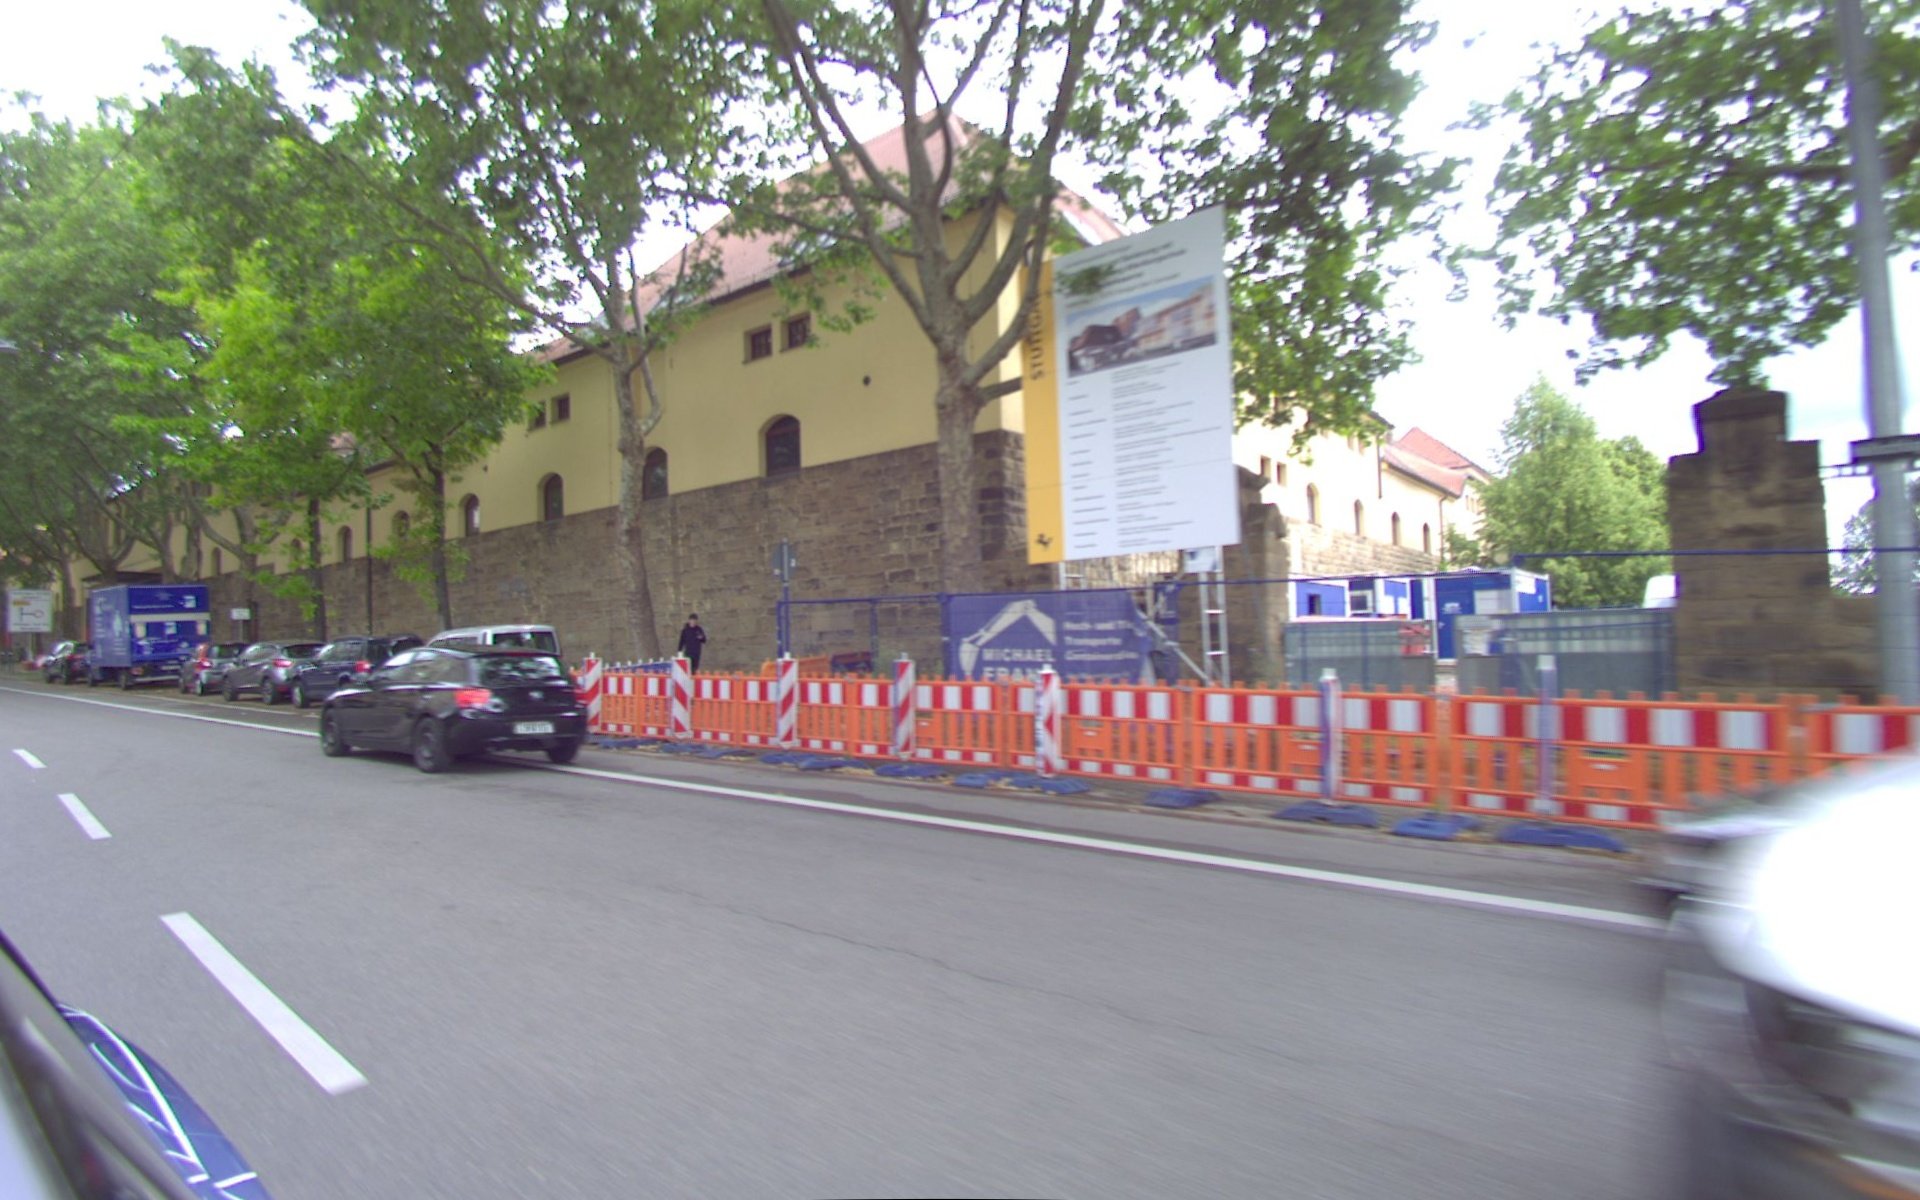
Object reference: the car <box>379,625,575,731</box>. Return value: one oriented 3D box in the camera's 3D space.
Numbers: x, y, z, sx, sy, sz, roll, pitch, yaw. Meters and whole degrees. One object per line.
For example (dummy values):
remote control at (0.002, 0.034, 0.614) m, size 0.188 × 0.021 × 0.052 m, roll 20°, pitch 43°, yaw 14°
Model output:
car at (-9.703, 1.485, 20.214) m, size 4.411 × 1.891 × 1.816 m, roll -2°, pitch -3°, yaw 39°

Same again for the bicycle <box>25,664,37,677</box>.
bicycle at (-63.416, 4.816, 69.084) m, size 1.774 × 0.852 × 0.332 m, roll -2°, pitch -2°, yaw 39°

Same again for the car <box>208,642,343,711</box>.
car at (-17.935, 1.943, 26.463) m, size 4.078 × 1.585 × 1.580 m, roll -1°, pitch 0°, yaw 36°

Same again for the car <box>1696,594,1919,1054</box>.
car at (5.005, 0.701, 2.866) m, size 4.630 × 1.469 × 1.784 m, roll -2°, pitch -4°, yaw 39°

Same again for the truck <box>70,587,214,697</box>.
truck at (-28.295, 1.425, 34.886) m, size 7.236 × 3.442 × 2.194 m, roll -2°, pitch -1°, yaw 38°

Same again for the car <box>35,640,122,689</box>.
car at (-33.822, 2.419, 38.794) m, size 4.246 × 1.702 × 1.715 m, roll -2°, pitch 0°, yaw 38°

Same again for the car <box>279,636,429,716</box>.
car at (-14.076, 1.679, 23.432) m, size 4.107 × 1.643 × 1.495 m, roll -1°, pitch 0°, yaw 36°

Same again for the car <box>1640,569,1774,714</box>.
car at (15.939, 0.742, 21.724) m, size 1.996 × 2.669 × 5.992 m, roll -1°, pitch 0°, yaw 36°

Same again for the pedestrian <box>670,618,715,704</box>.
pedestrian at (-5.804, 1.302, 21.933) m, size 0.742 × 1.813 × 0.586 m, roll -2°, pitch 0°, yaw 39°

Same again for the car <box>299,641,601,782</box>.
car at (-6.323, 1.228, 12.357) m, size 4.244 × 1.437 × 1.683 m, roll -2°, pitch -3°, yaw 39°

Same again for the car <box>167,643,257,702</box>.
car at (-22.363, 2.115, 30.223) m, size 2.989 × 1.585 × 1.466 m, roll -1°, pitch 0°, yaw 40°
